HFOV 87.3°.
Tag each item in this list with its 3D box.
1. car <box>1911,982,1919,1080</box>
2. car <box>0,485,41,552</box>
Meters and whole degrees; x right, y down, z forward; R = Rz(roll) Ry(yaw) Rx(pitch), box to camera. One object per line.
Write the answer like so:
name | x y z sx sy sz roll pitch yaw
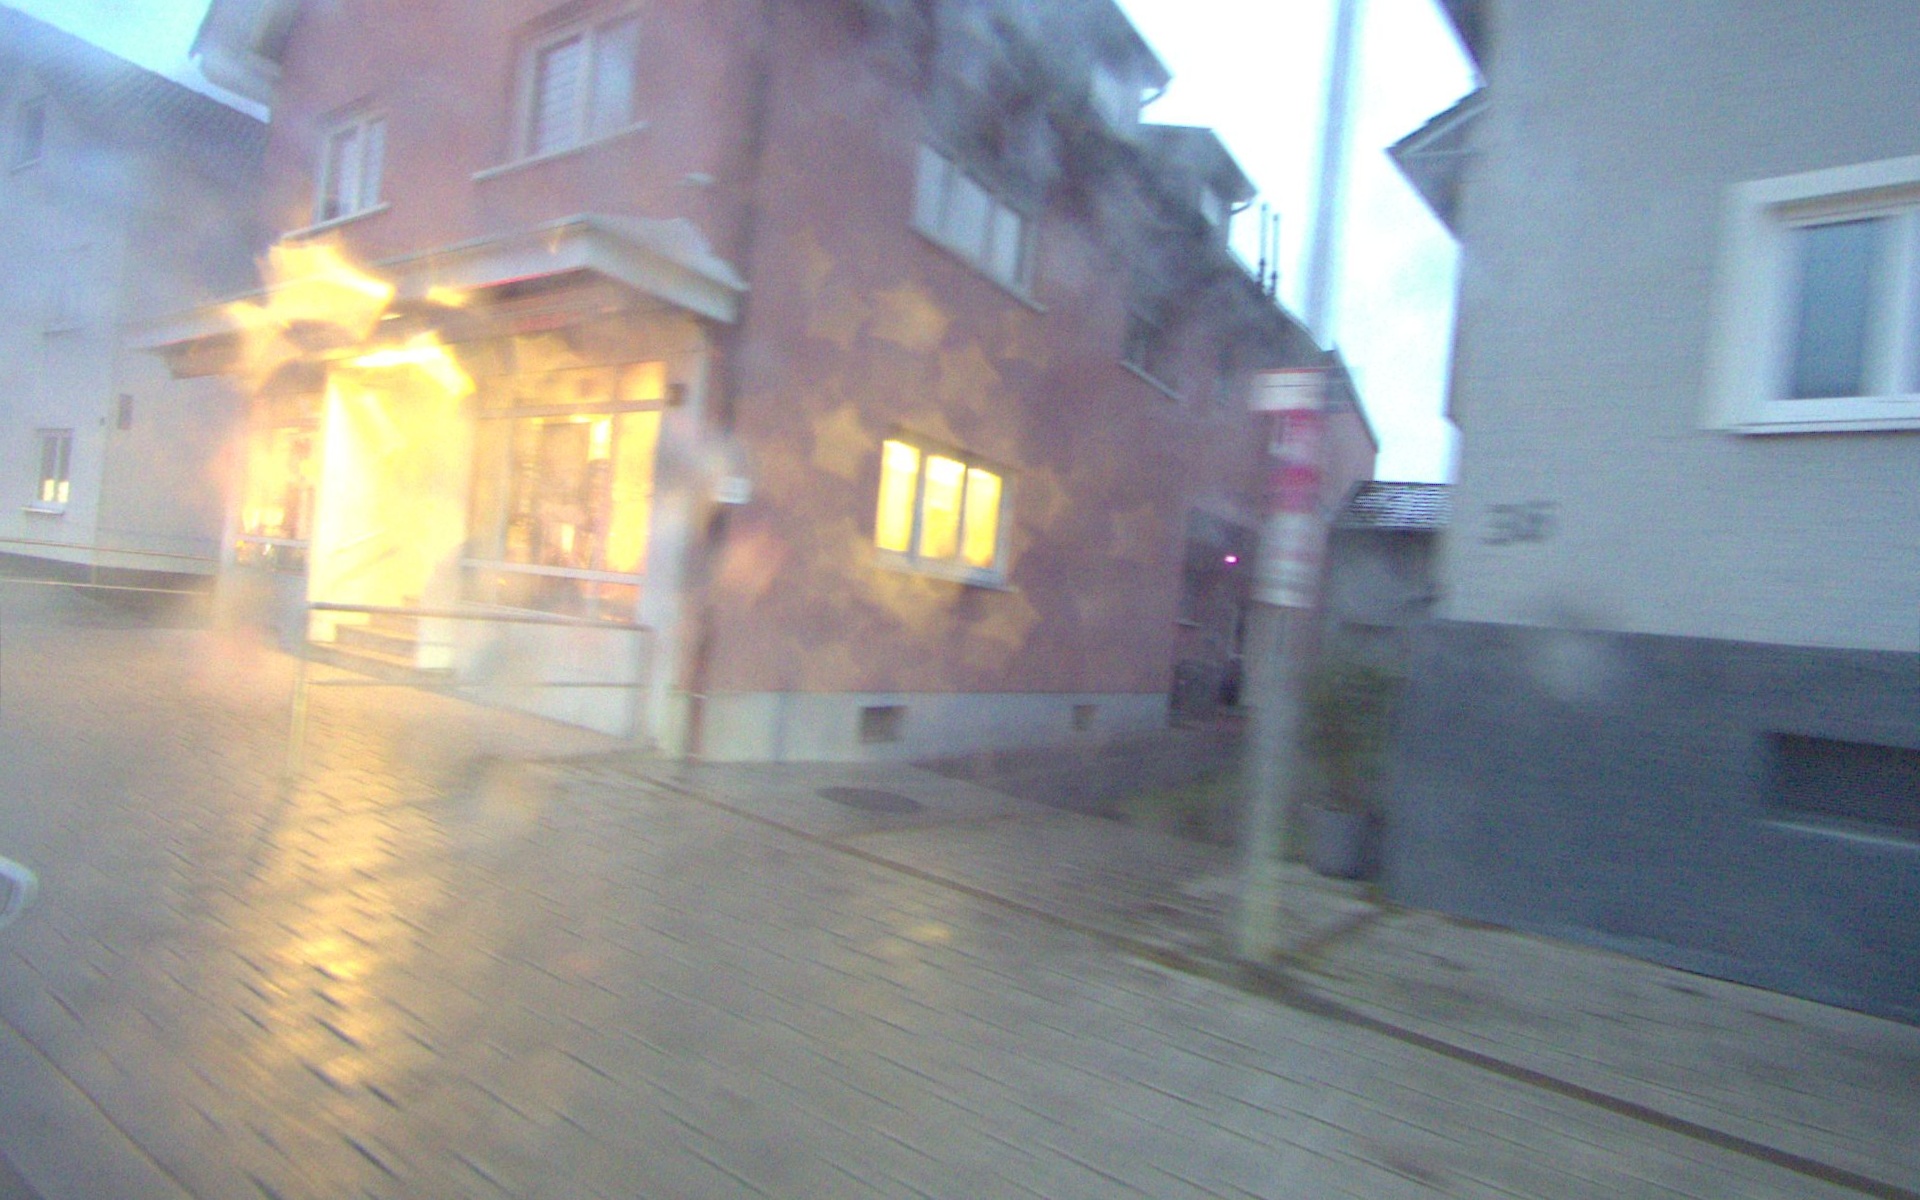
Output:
car | 5.303 1.297 2.059 4.630 1.502 1.929 6 -2 41
car | -24.335 -2.143 23.425 1.884 1.504 3.986 5 -1 37
